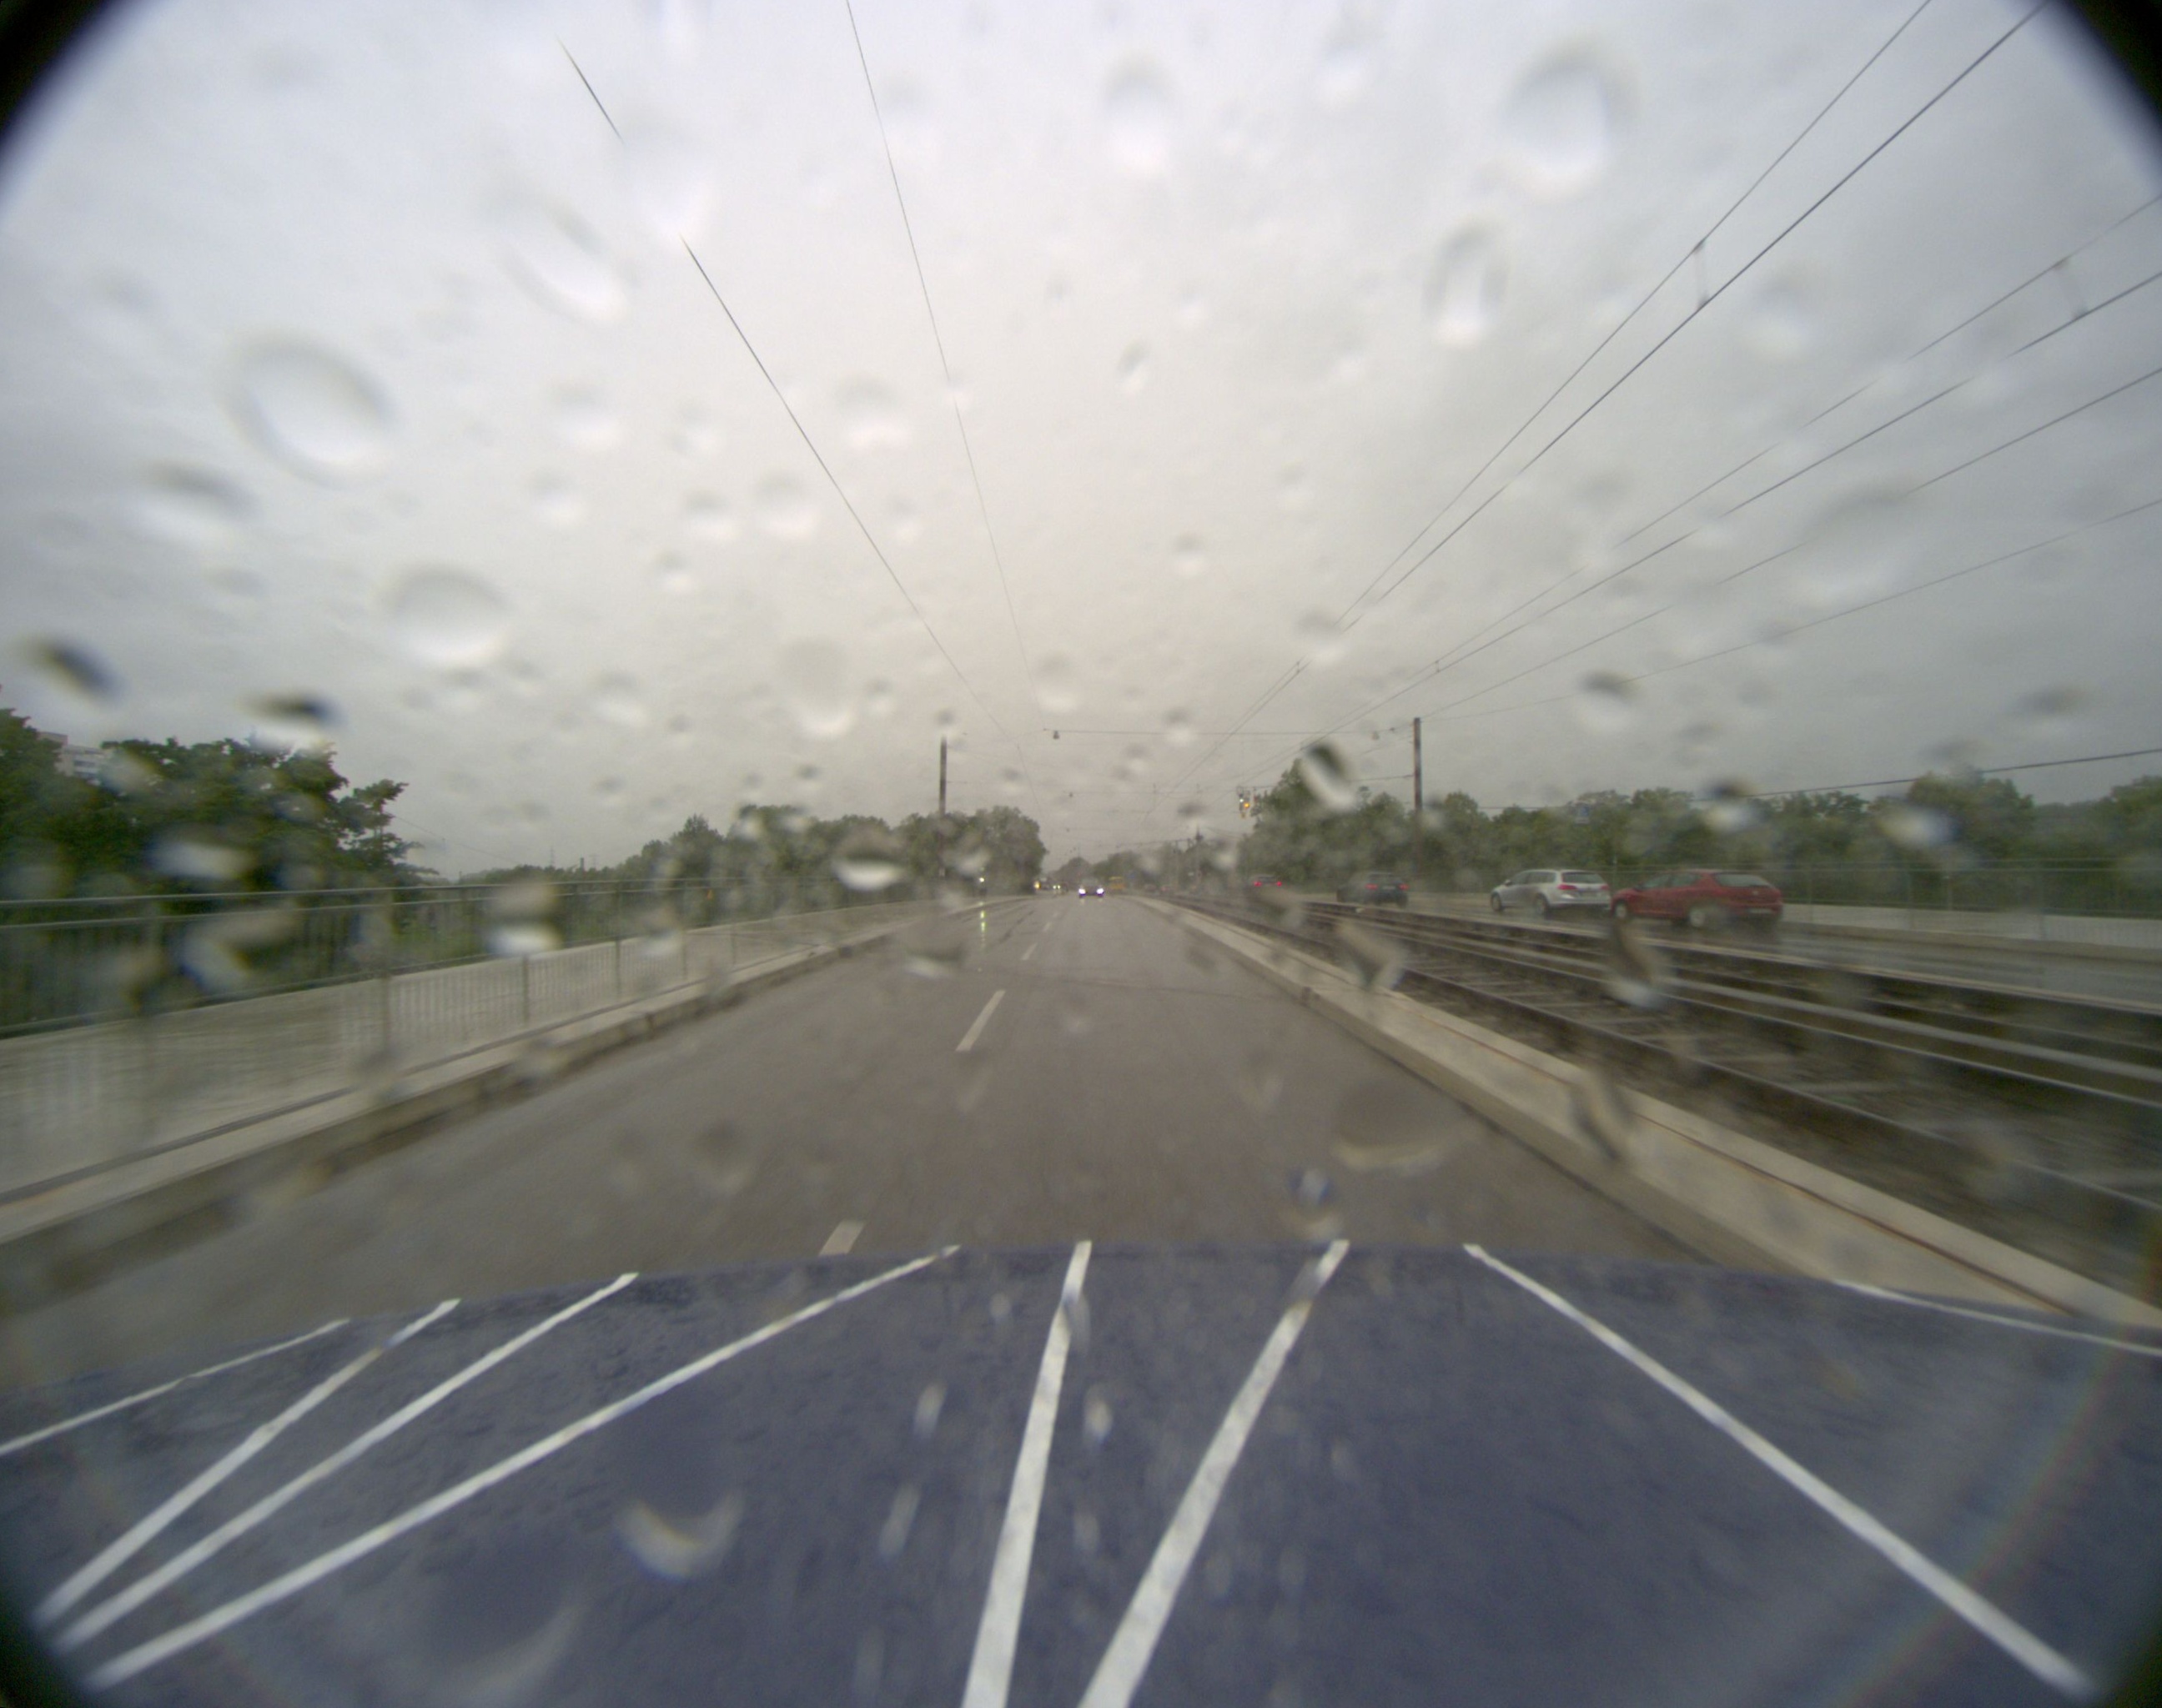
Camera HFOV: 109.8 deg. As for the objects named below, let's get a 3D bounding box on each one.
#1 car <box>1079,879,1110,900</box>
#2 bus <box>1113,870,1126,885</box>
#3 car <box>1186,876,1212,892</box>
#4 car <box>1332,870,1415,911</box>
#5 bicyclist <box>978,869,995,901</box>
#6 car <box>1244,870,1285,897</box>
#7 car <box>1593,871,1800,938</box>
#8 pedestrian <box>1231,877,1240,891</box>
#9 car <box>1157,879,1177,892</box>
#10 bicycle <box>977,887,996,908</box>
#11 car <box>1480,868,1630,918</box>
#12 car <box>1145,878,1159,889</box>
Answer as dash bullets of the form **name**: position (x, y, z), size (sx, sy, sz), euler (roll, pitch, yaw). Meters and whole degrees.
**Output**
- **car**: position (1.021, 2.815, 60.198), size (1.999, 1.497, 4.196), euler (-2, -2, -4)
- **bus**: position (9.694, 5.951, 190.728), size (2.715, 3.319, 10.999), euler (1, -3, 0)
- **car**: position (12.270, 3.103, 79.115), size (1.999, 1.500, 4.092), euler (1, -1, 0)
- **car**: position (11.777, 1.429, 30.866), size (1.804, 1.473, 4.084), euler (-2, -1, 1)
- **bicyclist**: position (-5.355, 1.765, 43.051), size (0.727, 1.753, 0.949), euler (-2, 0, 0)
- **car**: position (12.251, 1.953, 50.984), size (1.822, 1.644, 4.001), euler (-2, -1, 1)
- **car**: position (15.038, 1.163, 18.930), size (1.624, 1.447, 4.323), euler (1, -1, 0)
- **pedestrian**: position (20.381, 3.907, 100.497), size (0.867, 1.808, 1.043), euler (-2, -1, -2)
- **car**: position (11.636, 4.236, 102.912), size (1.999, 1.500, 5.113), euler (1, -1, -2)
- **bicycle**: position (-5.313, 2.431, 42.952), size (0.725, 1.122, 2.168), euler (-2, -2, 1)
- **car**: position (15.247, 1.195, 24.816), size (1.999, 1.447, 4.621), euler (1, -1, 0)
- **car**: position (12.192, 5.112, 130.600), size (1.998, 1.706, 4.942), euler (1, -1, 0)
